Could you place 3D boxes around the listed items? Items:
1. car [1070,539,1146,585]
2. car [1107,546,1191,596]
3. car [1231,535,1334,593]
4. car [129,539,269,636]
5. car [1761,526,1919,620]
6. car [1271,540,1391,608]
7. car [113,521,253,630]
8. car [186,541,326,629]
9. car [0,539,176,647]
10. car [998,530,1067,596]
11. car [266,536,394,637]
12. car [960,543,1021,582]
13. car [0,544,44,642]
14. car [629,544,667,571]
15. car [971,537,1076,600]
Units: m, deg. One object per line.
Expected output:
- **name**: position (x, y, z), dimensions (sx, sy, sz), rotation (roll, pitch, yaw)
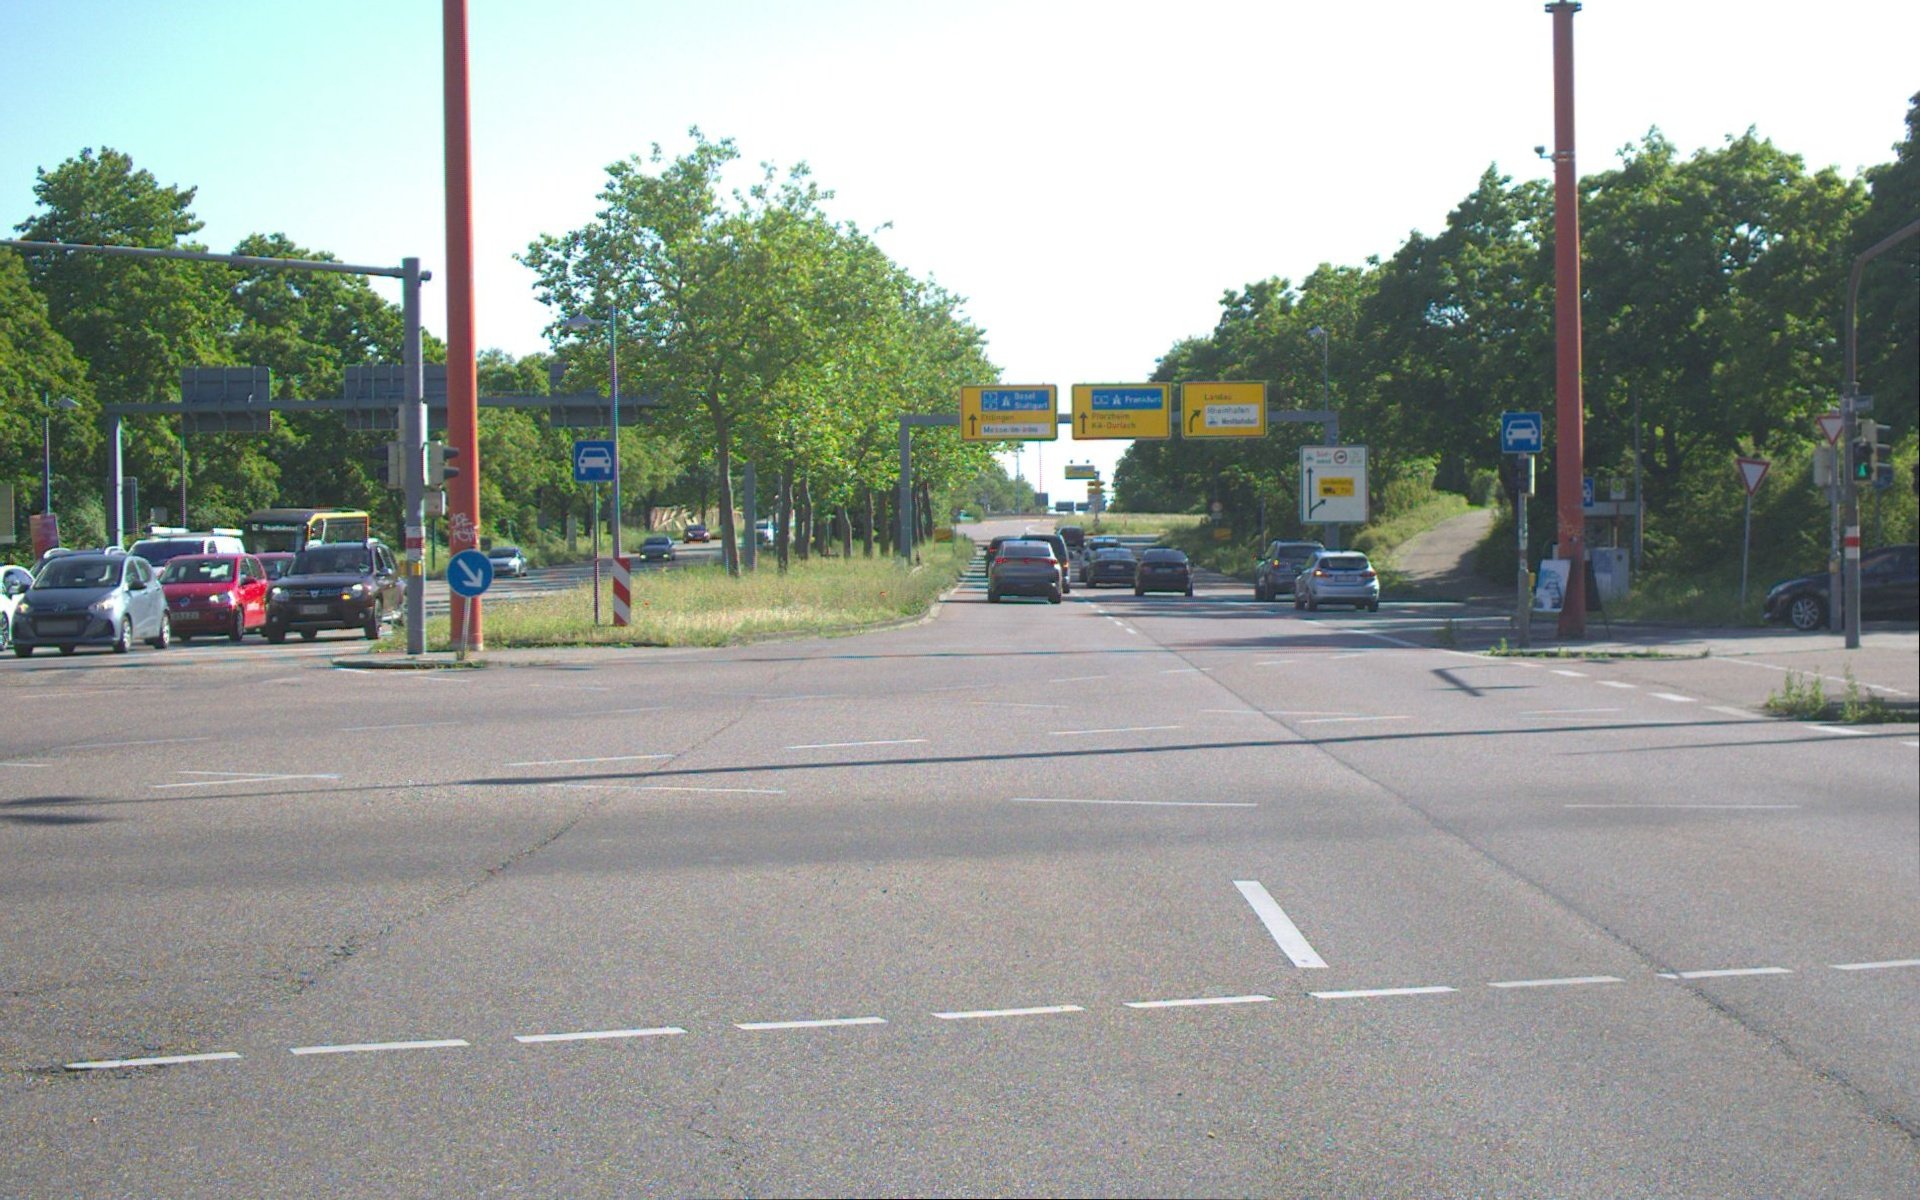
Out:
- **car**: position (5.128, -1.337, 119.544), dimensions (2.158, 1.568, 4.281), rotation (-1, 1, -4)
- **car**: position (5.618, -0.883, 102.551), dimensions (1.953, 1.437, 4.281), rotation (-1, 1, -4)
- **car**: position (8.967, -1.014, 95.901), dimensions (2.158, 1.568, 4.281), rotation (-1, 1, -4)
- **car**: position (-12.901, -0.239, 58.475), dimensions (1.993, 1.568, 4.122), rotation (-1, 1, -8)
- **car**: position (16.111, -0.478, 58.774), dimensions (4.274, 1.568, 2.162), rotation (0, 1, 30)
- **car**: position (8.989, -0.651, 83.689), dimensions (2.158, 1.568, 4.281), rotation (-1, 1, -4)
- **car**: position (-16.117, -0.533, 71.515), dimensions (2.062, 2.185, 4.379), rotation (-1, 1, -2)
- **car**: position (-13.119, -0.300, 64.254), dimensions (1.993, 1.568, 4.121), rotation (-1, 1, -4)
- **car**: position (-13.255, -0.135, 52.174), dimensions (1.993, 1.568, 4.121), rotation (-1, 1, -3)
- **car**: position (2.208, -1.148, 105.776), dimensions (1.993, 2.007, 4.000), rotation (0, 1, -1)
- **car**: position (-10.250, -0.248, 56.155), dimensions (1.876, 1.568, 4.122), rotation (-1, 1, -8)
- **car**: position (1.226, -1.553, 141.242), dimensions (2.158, 1.568, 4.281), rotation (-1, 1, -4)
- **car**: position (-16.491, -0.121, 57.043), dimensions (1.993, 1.568, 4.122), rotation (-2, 1, -8)
- **car**: position (-18.119, -2.467, 199.693), dimensions (1.993, 1.568, 4.121), rotation (-1, 1, -3)
- **car**: position (1.618, -0.834, 88.852), dimensions (2.245, 1.568, 4.282), rotation (-1, 1, -5)
